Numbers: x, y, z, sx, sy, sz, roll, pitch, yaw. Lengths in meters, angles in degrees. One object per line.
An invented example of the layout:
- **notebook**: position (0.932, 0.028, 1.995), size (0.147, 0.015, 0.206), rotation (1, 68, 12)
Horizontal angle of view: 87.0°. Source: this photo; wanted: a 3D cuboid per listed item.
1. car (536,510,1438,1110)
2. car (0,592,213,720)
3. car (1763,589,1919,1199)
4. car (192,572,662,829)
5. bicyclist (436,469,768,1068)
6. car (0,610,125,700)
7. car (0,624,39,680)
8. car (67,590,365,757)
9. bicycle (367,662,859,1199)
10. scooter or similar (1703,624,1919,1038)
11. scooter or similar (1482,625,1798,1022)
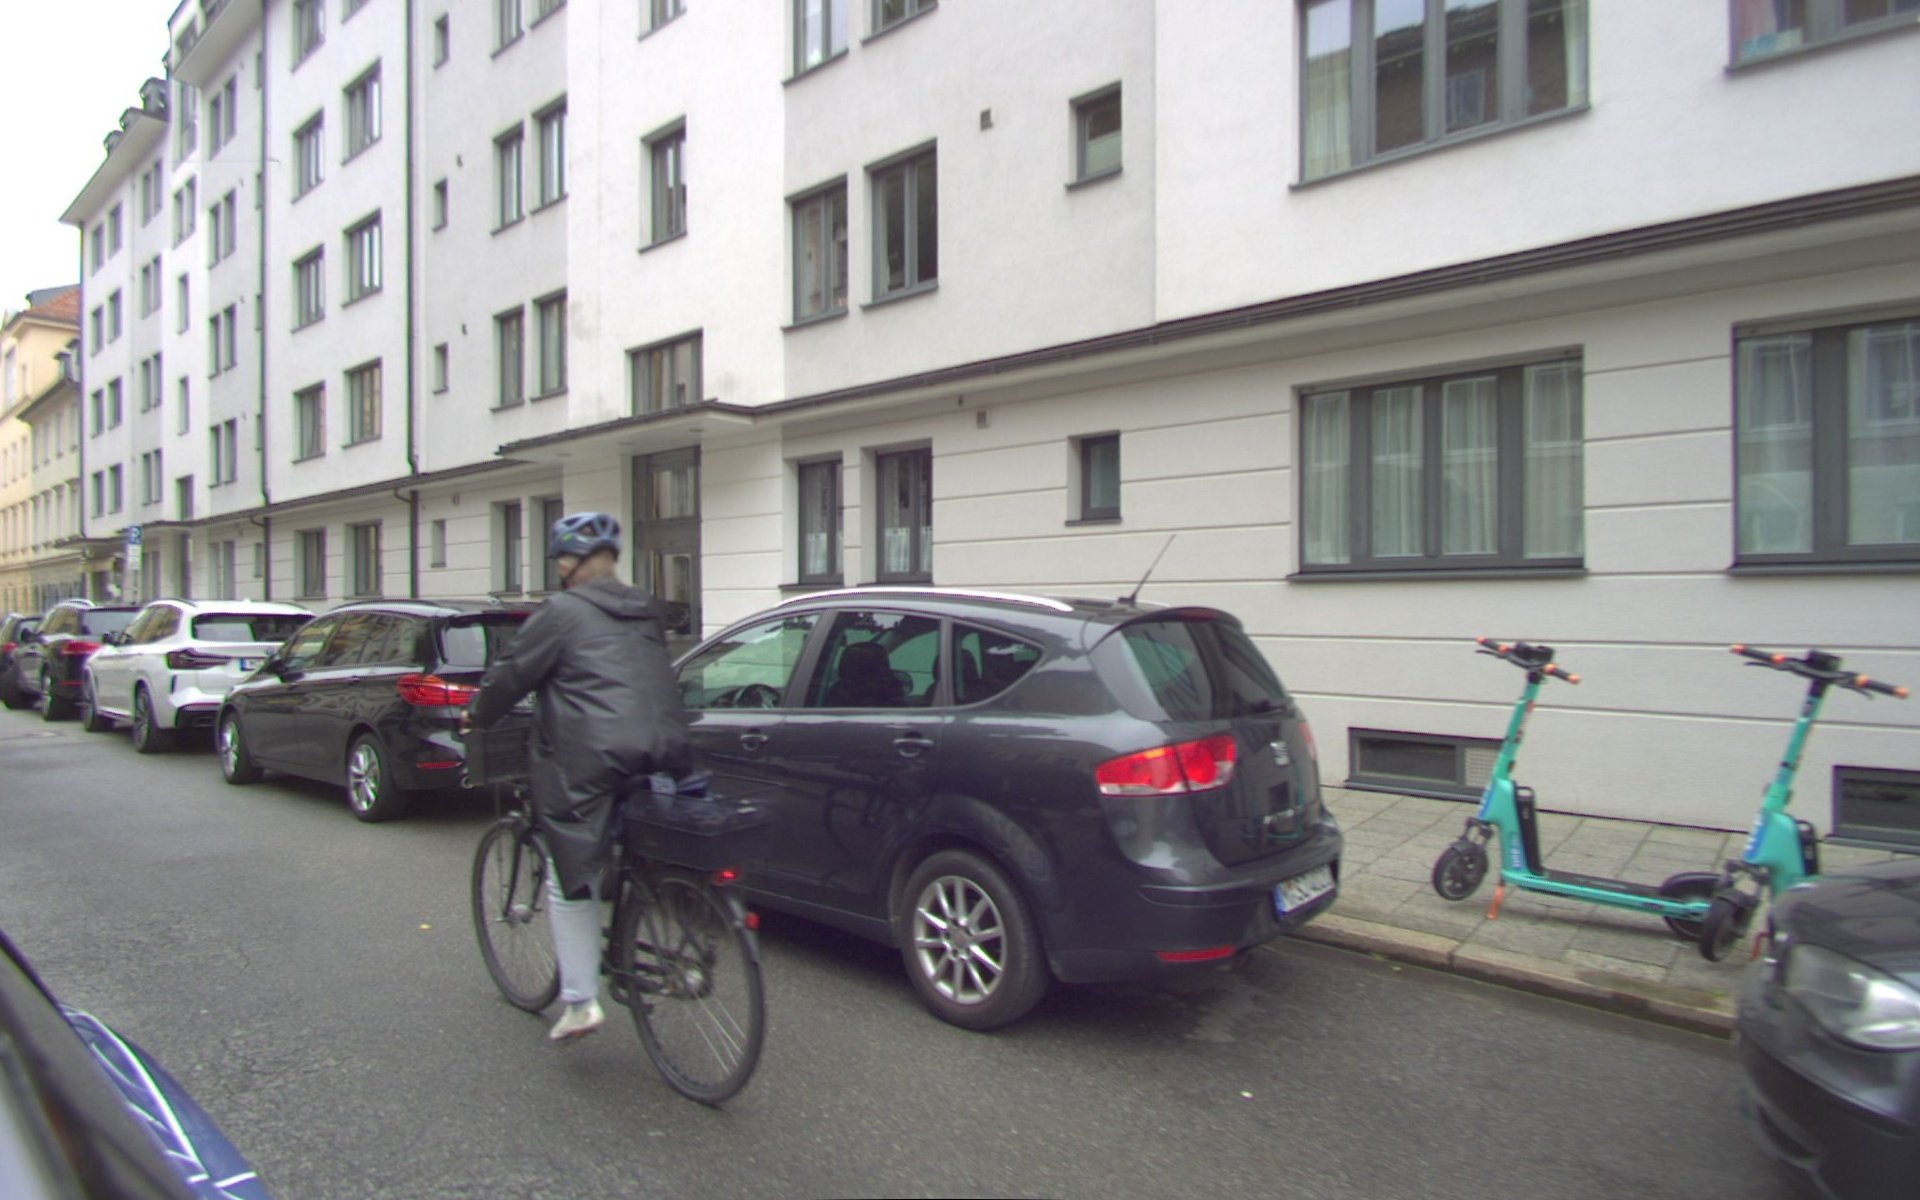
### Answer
- **car**: position (-0.143, 0.655, 4.872), size (4.077, 1.671, 1.853), rotation (-2, -3, 40)
- **car**: position (-13.342, 0.829, 15.646), size (4.516, 1.701, 1.853), rotation (-2, -3, 40)
- **car**: position (3.641, 0.685, 1.232), size (4.016, 1.464, 1.731), rotation (-2, -3, 44)
- **car**: position (-4.759, 0.734, 8.755), size (4.583, 1.671, 1.854), rotation (-2, -3, 38)
- **bicyclist**: position (-1.136, 0.442, 3.188), size (0.887, 1.562, 0.650), rotation (-1, -1, 43)
- **car**: position (-17.712, 1.026, 19.485), size (4.155, 1.551, 1.755), rotation (-2, -3, 40)
- **car**: position (-25.210, 1.313, 25.795), size (4.048, 1.365, 1.625), rotation (-2, -3, 34)
- **car**: position (-9.161, 0.818, 12.318), size (4.586, 1.671, 1.853), rotation (-2, -3, 40)
- **bicycle**: position (-1.209, 0.844, 3.235), size (1.950, 1.206, 0.641), rotation (-1, -1, 43)
- **scooter or similar**: position (3.233, 0.765, 3.493), size (0.222, 1.366, 1.122), rotation (1, -1, -20)
- **scooter or similar**: position (2.656, 0.785, 4.072), size (0.222, 1.366, 1.122), rotation (1, -1, -20)
